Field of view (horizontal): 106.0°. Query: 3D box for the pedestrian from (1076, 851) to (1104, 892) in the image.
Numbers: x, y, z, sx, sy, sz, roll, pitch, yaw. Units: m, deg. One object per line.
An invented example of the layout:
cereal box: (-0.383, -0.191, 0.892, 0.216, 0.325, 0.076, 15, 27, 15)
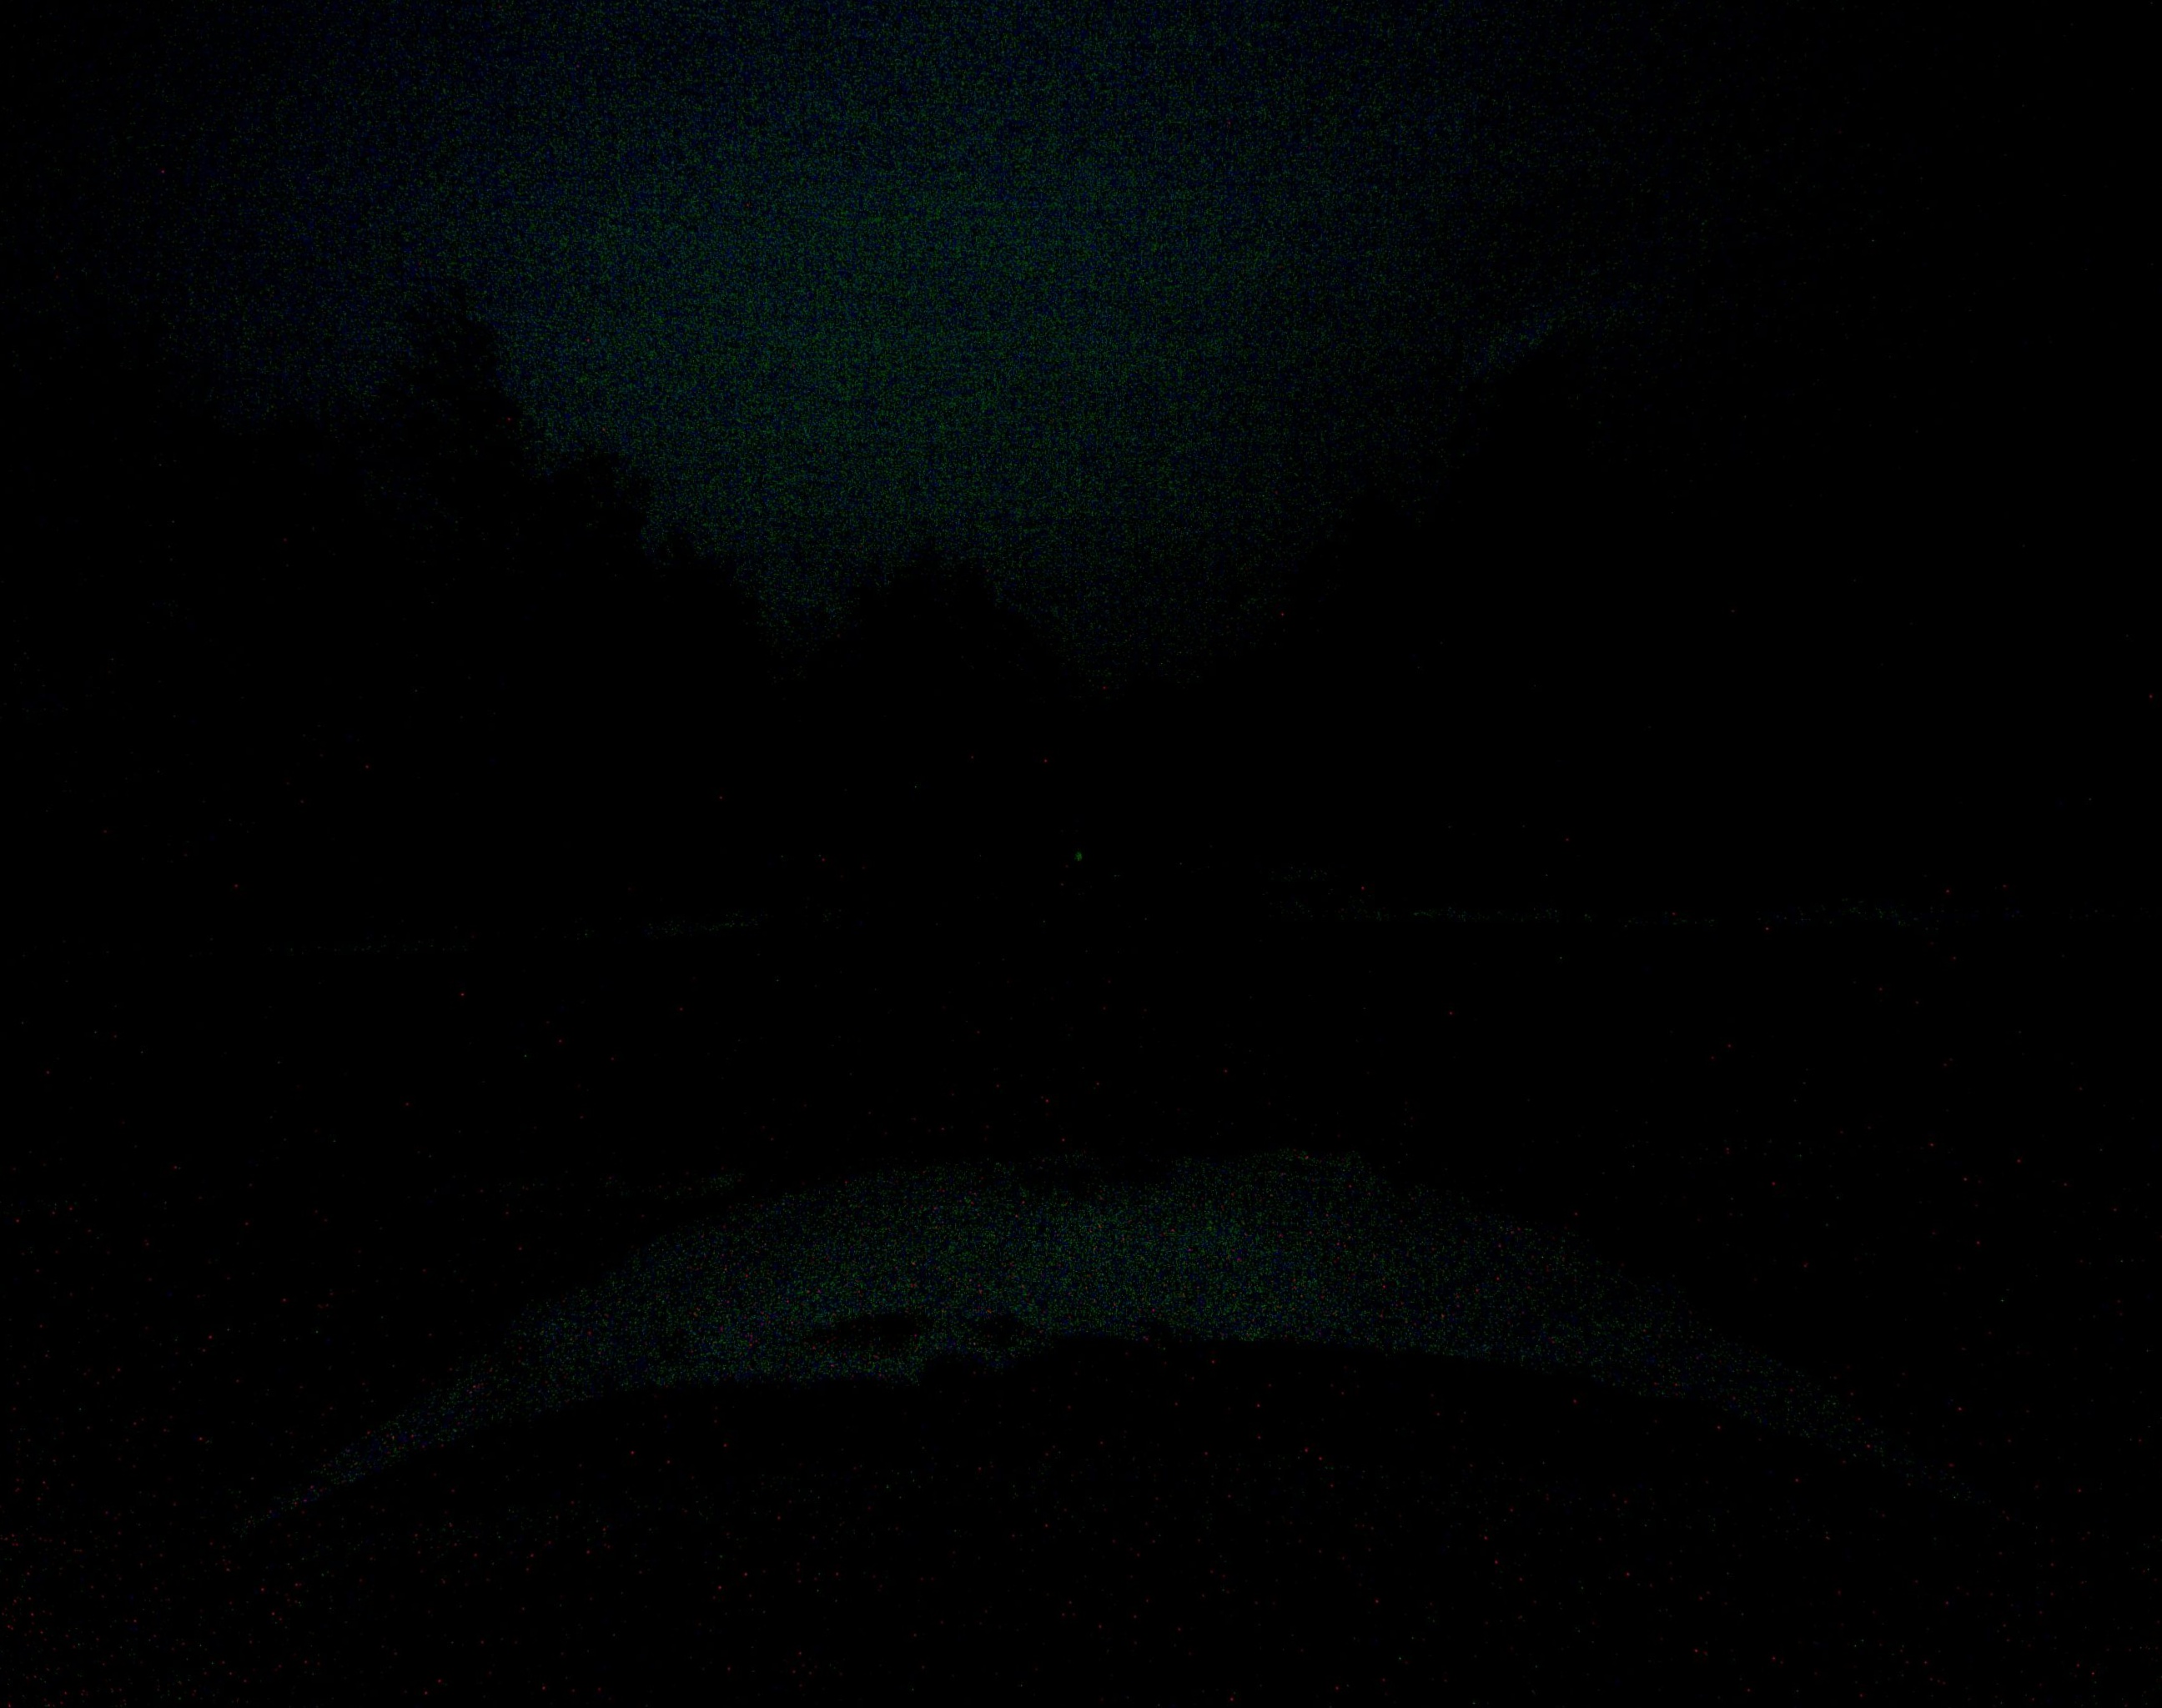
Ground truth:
pedestrian: (0.420, 0.775, 36.748, 0.952, 1.828, 0.930, -1, -2, 23)

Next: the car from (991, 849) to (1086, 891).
car: (-1.965, 0.751, 37.861, 3.915, 1.881, 2.009, 0, -2, 18)
